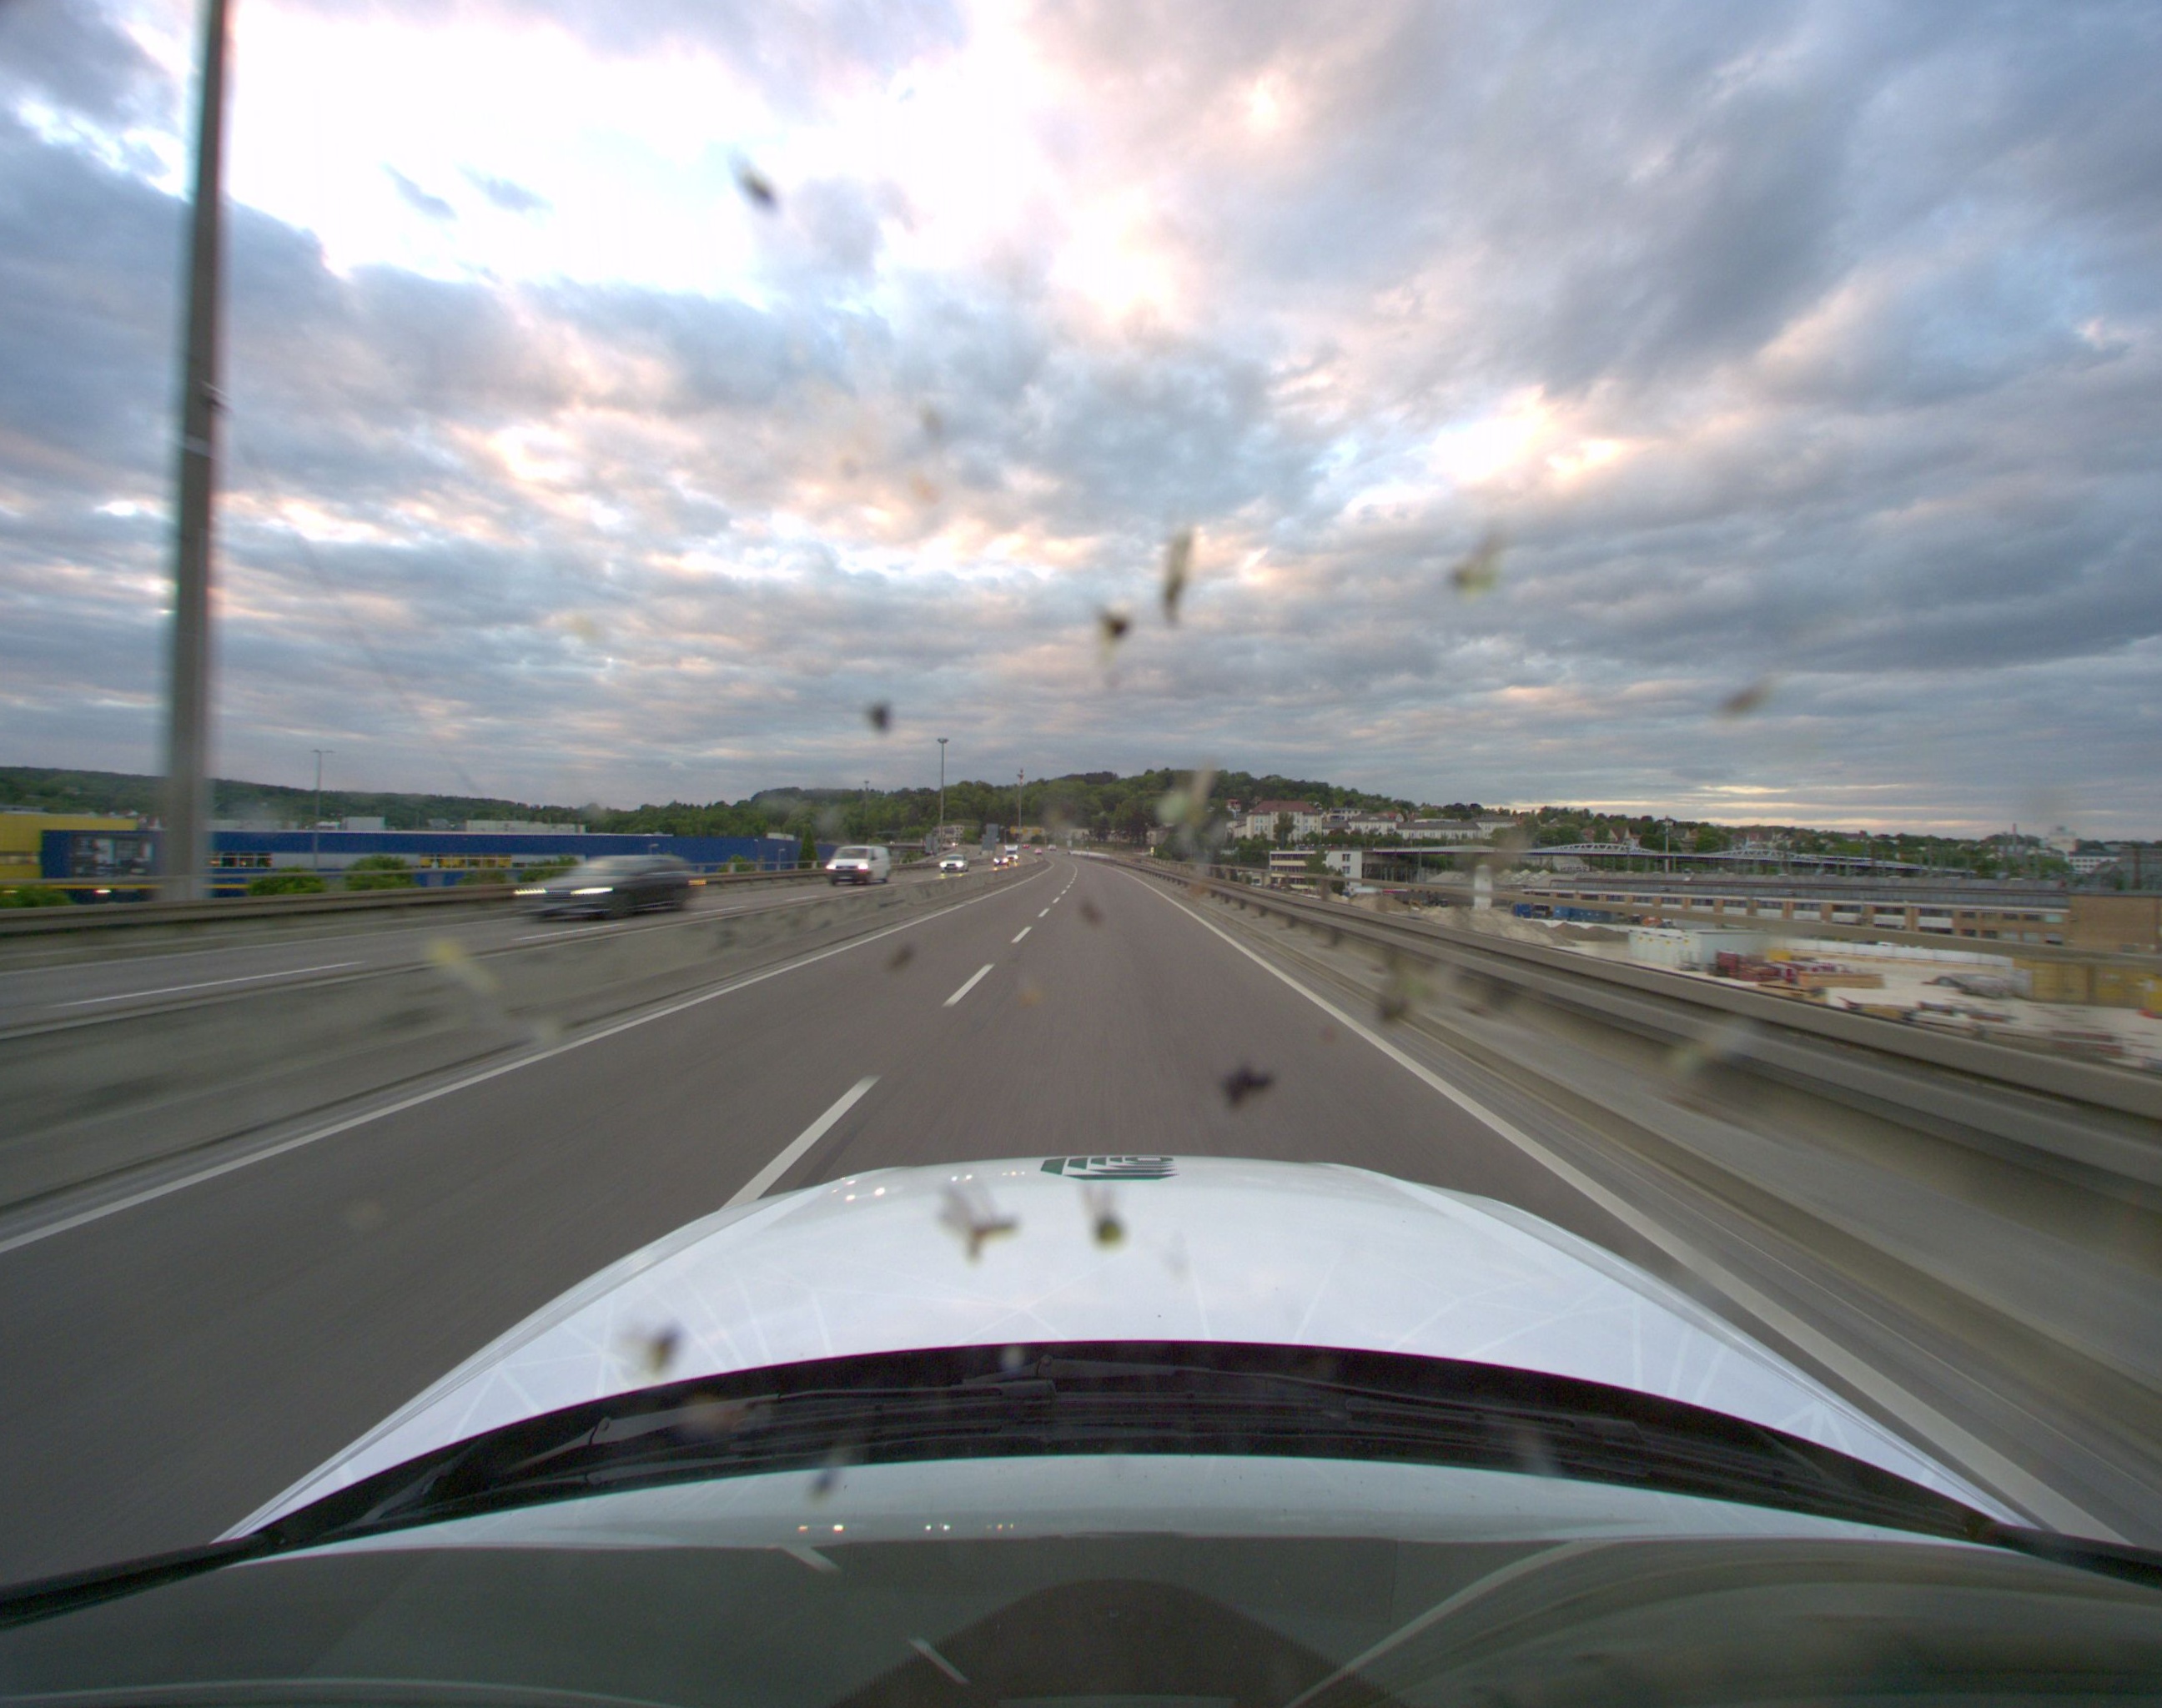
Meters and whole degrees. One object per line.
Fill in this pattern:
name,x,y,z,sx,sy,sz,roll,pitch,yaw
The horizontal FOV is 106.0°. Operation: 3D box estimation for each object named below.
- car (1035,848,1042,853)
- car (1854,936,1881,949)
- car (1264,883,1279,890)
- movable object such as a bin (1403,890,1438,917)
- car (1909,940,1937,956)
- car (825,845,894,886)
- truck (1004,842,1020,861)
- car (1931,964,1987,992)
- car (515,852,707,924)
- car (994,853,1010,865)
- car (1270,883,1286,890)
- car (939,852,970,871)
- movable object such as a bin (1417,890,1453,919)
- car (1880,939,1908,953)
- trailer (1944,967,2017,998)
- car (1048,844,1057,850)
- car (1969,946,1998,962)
car,-11.856,-0.966,226.208,1.630,1.387,3.988,-1,2,-9
car,110.102,12.452,114.005,4.014,1.420,1.852,6,0,-33
car,51.170,8.634,218.619,4.016,1.565,1.812,4,2,-36
movable object such as a bin,60.780,8.840,145.839,4.951,4.310,2.769,6,-1,-17
car,112.634,12.545,108.944,4.014,1.714,1.852,6,0,-33
car,-11.001,0.541,40.855,1.894,1.900,5.459,-1,0,1
truck,-12.339,-0.481,145.516,2.529,3.297,7.437,0,0,-3
car,64.798,9.113,60.165,1.510,1.442,3.819,6,0,27
car,-11.257,0.732,20.004,1.822,1.474,4.901,-1,1,0
car,-9.630,0.602,98.948,1.624,1.441,3.834,-1,1,-1
car,52.014,8.616,215.461,4.016,1.565,1.812,4,2,-36
car,-10.483,0.627,67.889,1.825,1.503,4.816,-1,0,0
movable object such as a bin,61.730,8.819,142.033,4.951,4.310,2.769,6,-1,-17
car,111.049,12.568,111.273,4.014,1.420,1.852,6,0,-33
trailer,58.209,8.261,52.791,1.762,1.241,4.277,2,1,27
car,-9.121,-2.229,259.737,1.997,2.013,4.088,0,2,-15
car,114.876,12.780,103.642,4.014,1.651,1.852,6,0,-33
